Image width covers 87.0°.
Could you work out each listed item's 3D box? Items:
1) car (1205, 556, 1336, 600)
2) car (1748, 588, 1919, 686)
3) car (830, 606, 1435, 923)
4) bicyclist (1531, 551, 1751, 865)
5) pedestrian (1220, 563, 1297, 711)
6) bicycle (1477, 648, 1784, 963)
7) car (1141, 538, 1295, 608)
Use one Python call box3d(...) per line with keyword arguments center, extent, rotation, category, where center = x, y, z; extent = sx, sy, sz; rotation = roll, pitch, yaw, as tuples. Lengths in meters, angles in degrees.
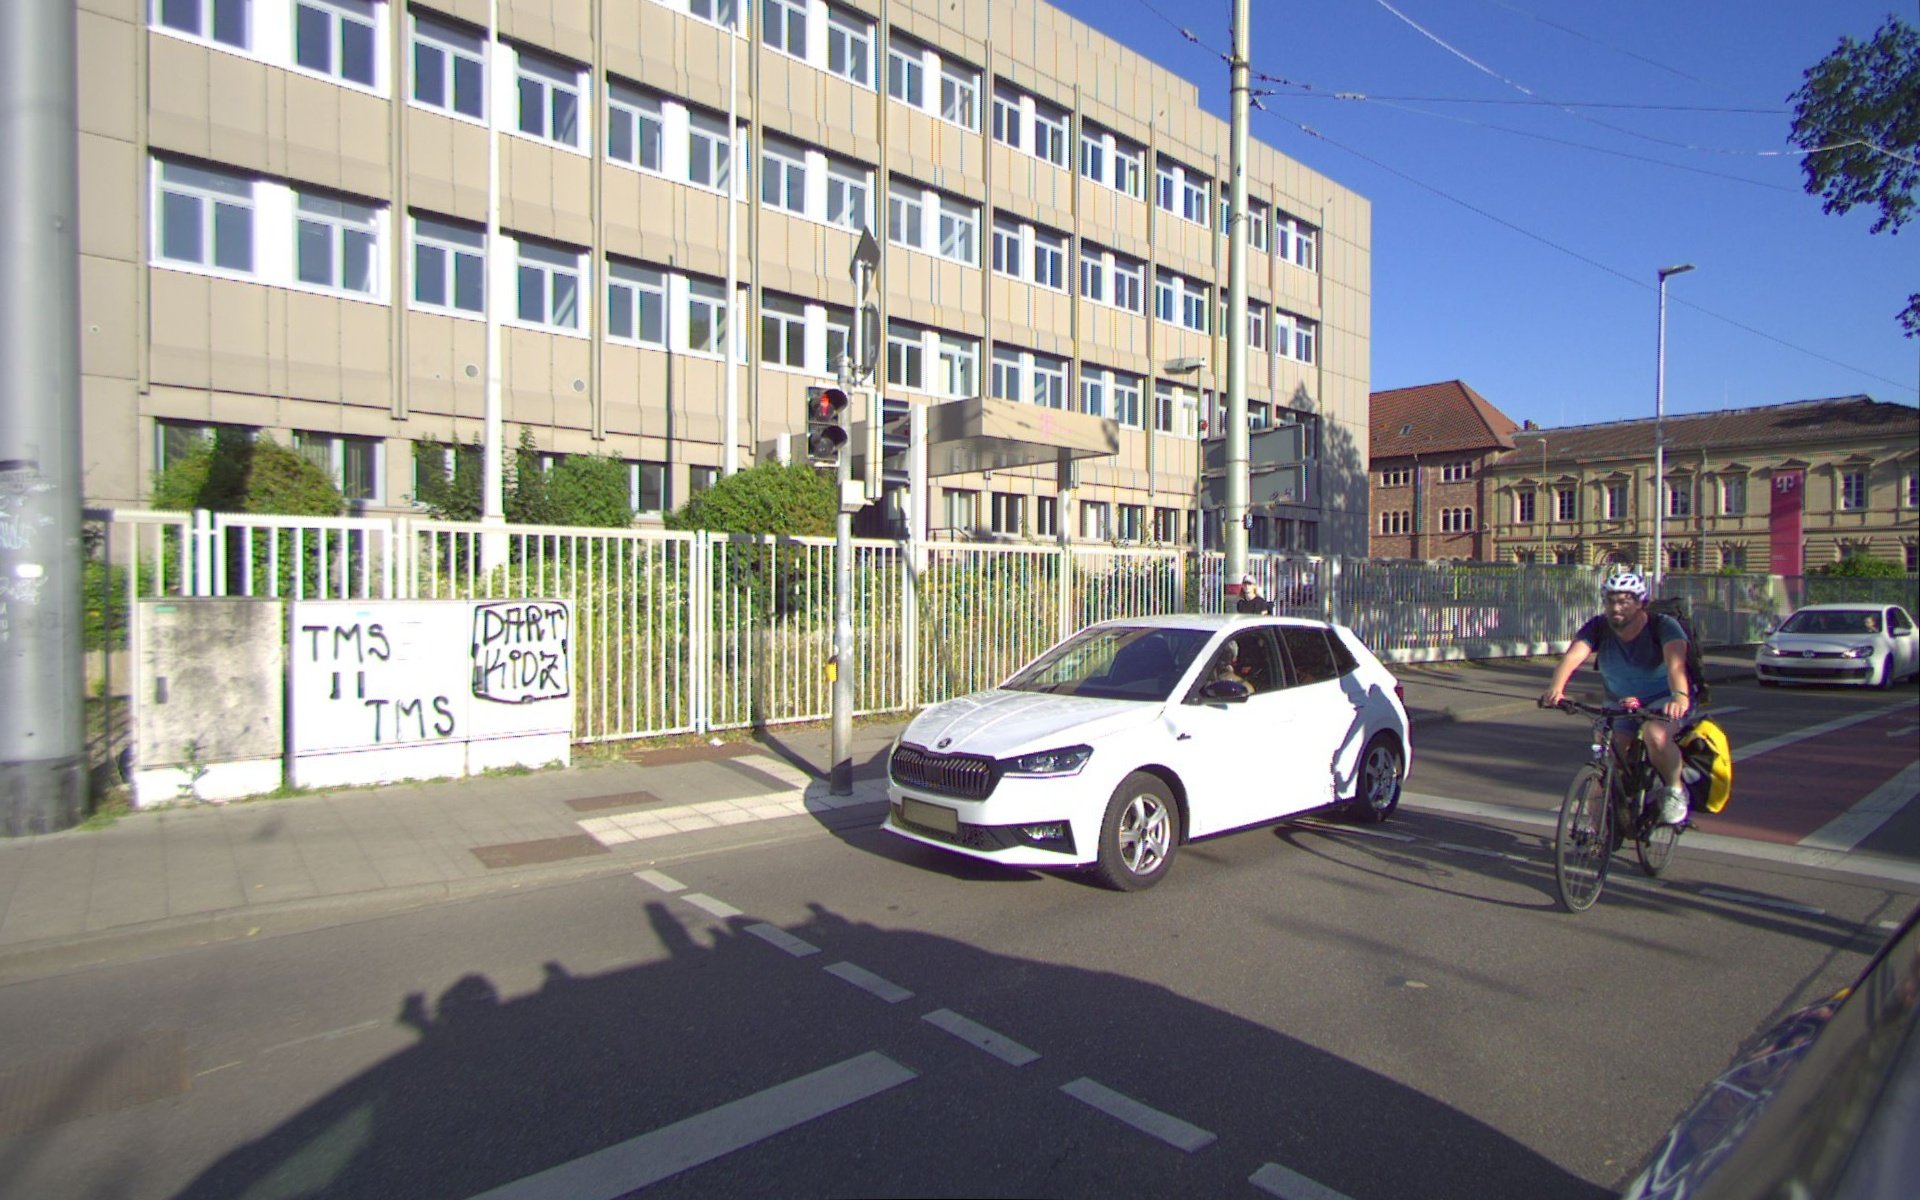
box3d(center=(12.044, -0.854, 39.536), extent=(1.965, 1.601, 4.570), rotation=(-1, 1, -41), category="car")
box3d(center=(15.777, 0.585, 17.829), extent=(4.220, 1.521, 1.794), rotation=(-1, -1, -35), category="car")
box3d(center=(1.310, 0.770, 6.613), extent=(4.002, 1.407, 1.704), rotation=(-1, 0, -40), category="car")
box3d(center=(3.501, 0.494, 5.201), extent=(0.844, 1.440, 0.727), rotation=(-1, 0, -41), category="bicyclist")
box3d(center=(3.738, 0.435, 12.684), extent=(0.756, 1.784, 0.592), rotation=(0, 1, -36), category="pedestrian")
box3d(center=(3.518, 0.897, 5.204), extent=(2.267, 1.158, 0.763), rotation=(-1, 1, -42), category="bicycle")
box3d(center=(7.521, -0.766, 29.234), extent=(4.702, 1.865, 1.997), rotation=(-1, 1, -41), category="car")
